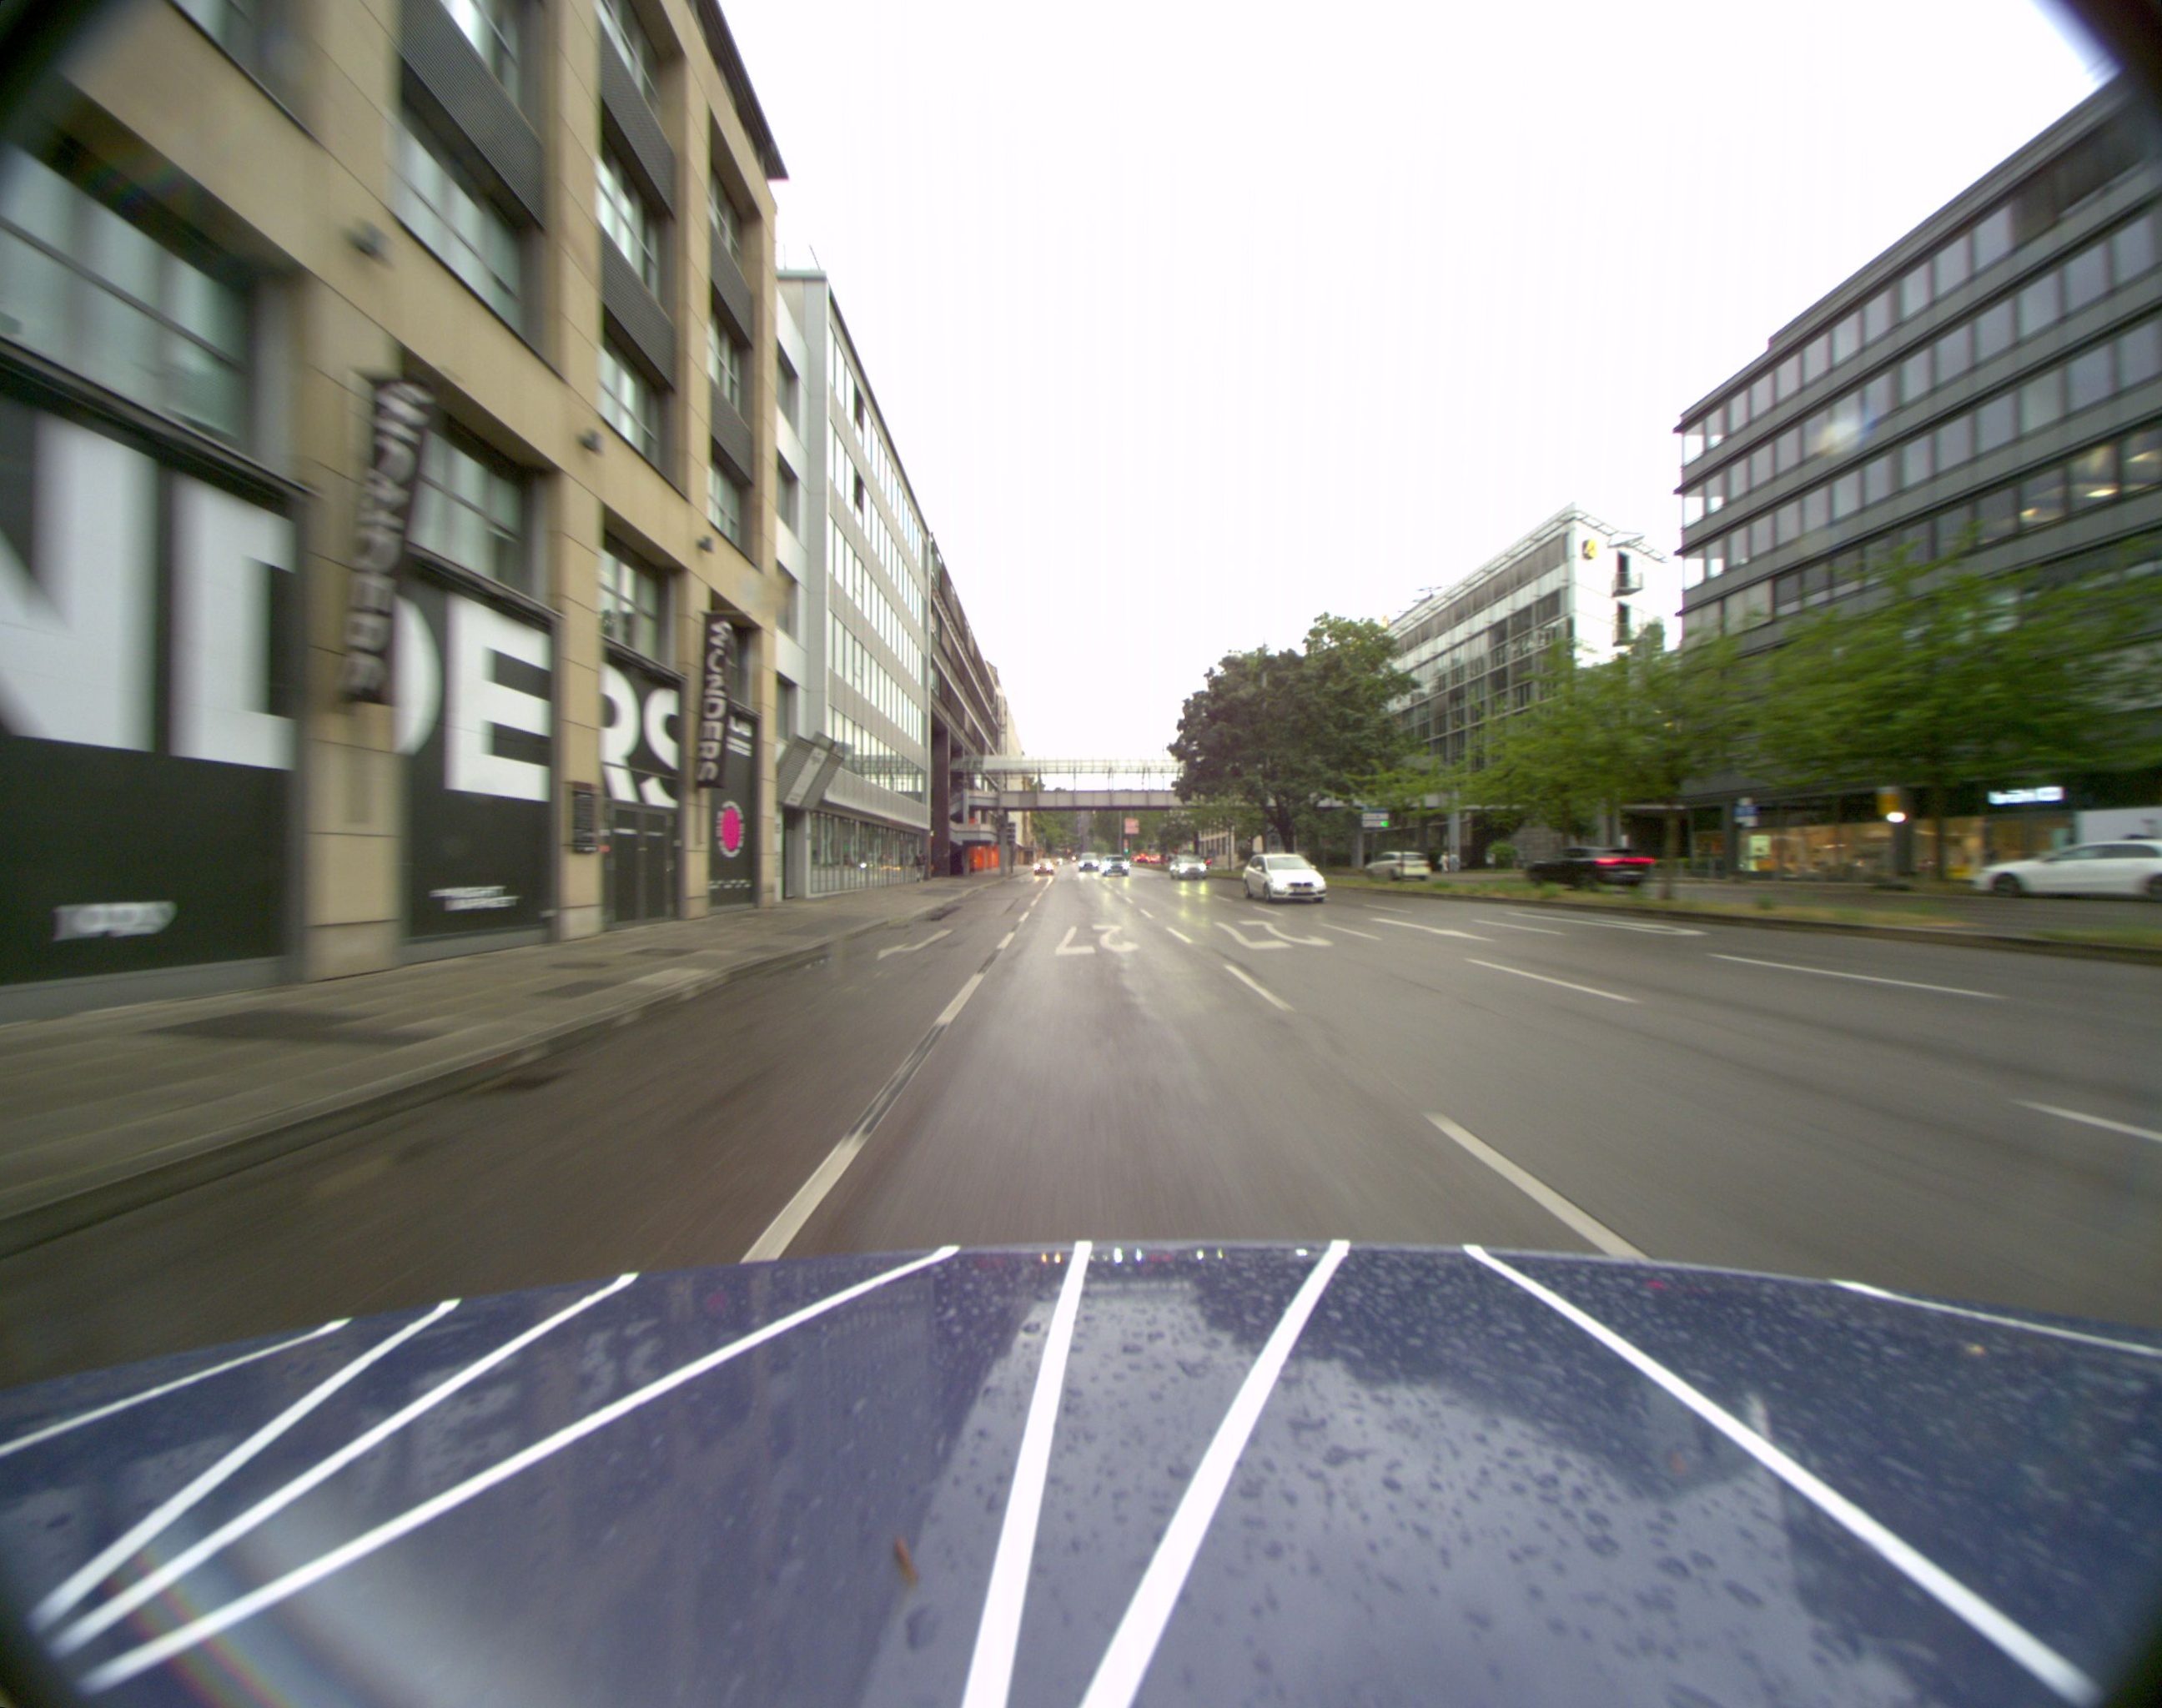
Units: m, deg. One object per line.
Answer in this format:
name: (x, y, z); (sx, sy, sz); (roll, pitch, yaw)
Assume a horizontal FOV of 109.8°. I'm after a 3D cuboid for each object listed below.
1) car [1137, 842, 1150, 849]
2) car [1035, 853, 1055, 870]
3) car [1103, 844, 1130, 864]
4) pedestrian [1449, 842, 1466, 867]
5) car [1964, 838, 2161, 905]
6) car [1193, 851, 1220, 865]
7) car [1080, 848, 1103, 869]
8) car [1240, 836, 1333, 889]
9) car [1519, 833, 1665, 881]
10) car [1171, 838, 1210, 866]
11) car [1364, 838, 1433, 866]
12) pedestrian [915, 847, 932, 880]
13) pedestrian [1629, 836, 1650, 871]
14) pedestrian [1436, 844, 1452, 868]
car: (11.073, -1.498, 134.257); (1.732, 1.303, 4.075); (-1, 0, -4)
car: (-3.188, 0.684, 68.643); (1.666, 1.464, 3.483); (-2, 0, -1)
car: (2.712, 0.005, 58.576); (1.941, 1.426, 4.287); (-1, 0, 1)
pedestrian: (27.967, 0.009, 56.482); (0.729, 1.822, 0.924); (-2, 1, -1)
car: (24.607, 0.369, 18.181); (1.814, 1.436, 4.308); (-2, 0, -4)
car: (12.615, 0.356, 76.343); (1.732, 1.303, 4.075); (-1, 0, -4)
car: (1.019, 0.445, 76.537); (2.163, 2.014, 5.040); (-2, 0, -1)
car: (6.680, 0.256, 25.144); (1.788, 1.564, 4.286); (-1, 0, -2)
car: (17.793, 0.080, 26.797); (1.814, 1.507, 4.716); (-1, 1, -3)
car: (6.648, -0.124, 46.504); (1.788, 1.564, 3.690); (-1, 0, -1)
car: (17.014, -0.107, 40.929); (1.732, 1.426, 4.311); (-1, 0, -3)
pedestrian: (-8.789, 0.504, 42.384); (0.729, 1.822, 0.764); (-1, 1, -1)
pedestrian: (29.653, -0.015, 40.364); (0.762, 1.806, 0.731); (-1, 1, 25)
pedestrian: (26.997, 0.130, 56.482); (0.729, 1.788, 0.924); (-2, 1, -1)
